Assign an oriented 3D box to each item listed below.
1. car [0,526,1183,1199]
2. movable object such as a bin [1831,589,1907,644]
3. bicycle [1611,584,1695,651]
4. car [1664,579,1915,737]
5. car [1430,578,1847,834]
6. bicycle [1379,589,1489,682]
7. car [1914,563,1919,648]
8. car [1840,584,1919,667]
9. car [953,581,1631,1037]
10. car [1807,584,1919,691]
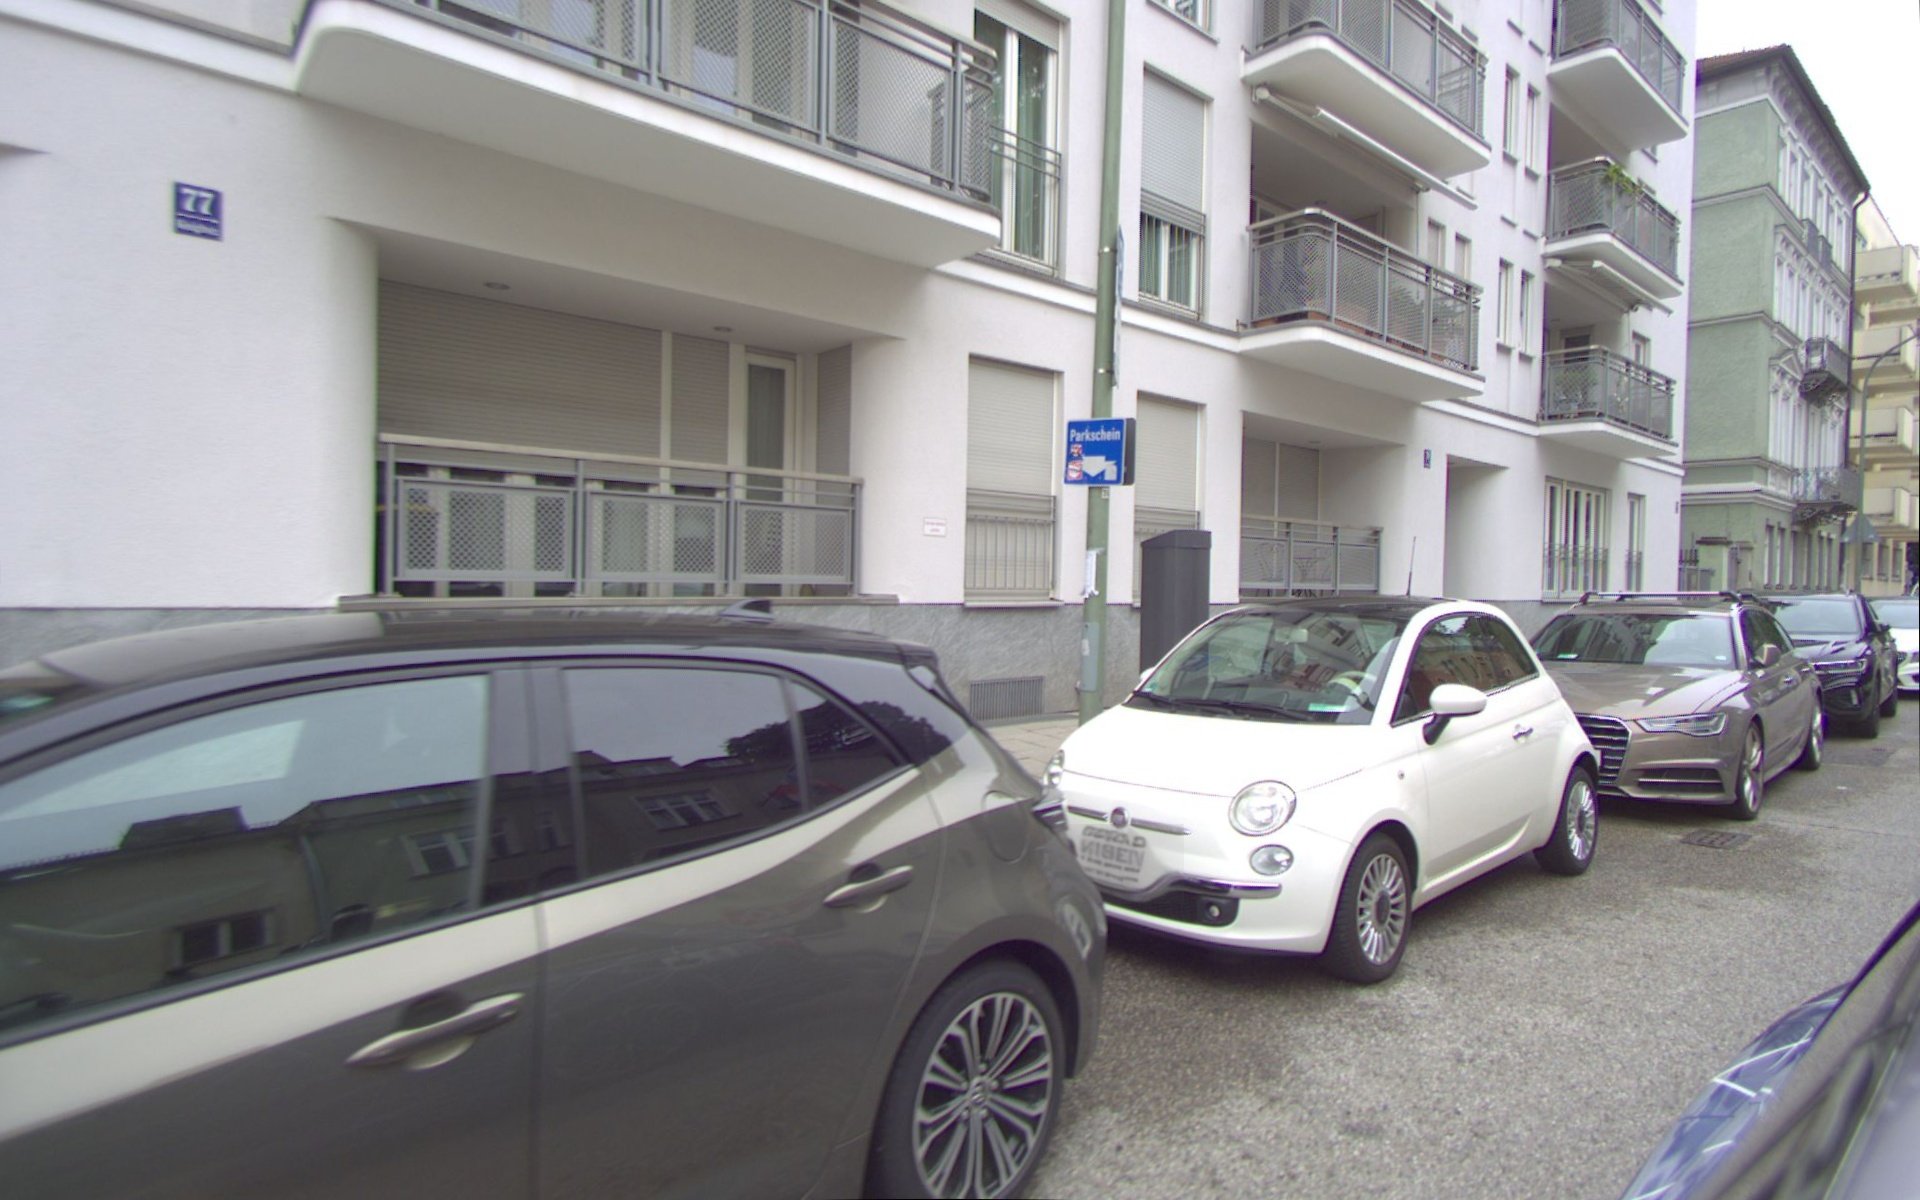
[{"bbox_3d":[-1.506,0.641,1.969,4.147,1.494,1.773,0,1,-44],"label":"car"},{"bbox_3d":[22.071,0.383,24.554,2.125,1.207,1.023,0,4,-40],"label":"movable object such as a bin"},{"bbox_3d":[12.889,0.299,18.795,1.939,1.186,0.803,0,1,-41],"label":"bicycle"},{"bbox_3d":[9.889,0.552,11.961,3.954,1.552,1.839,0,0,-44],"label":"car"},{"bbox_3d":[5.632,0.599,8.137,4.525,1.501,1.793,0,1,-43],"label":"car"},{"bbox_3d":[6.315,0.441,13.449,1.778,1.111,0.570,0,5,-41],"label":"bicycle"},{"bbox_3d":[25.599,0.152,25.453,4.699,2.056,1.857,0,1,-41],"label":"car"},{"bbox_3d":[17.916,0.449,19.021,3.656,1.441,1.717,0,0,-43],"label":"car"},{"bbox_3d":[1.881,0.661,5.128,3.681,1.485,1.620,0,1,-41],"label":"car"},{"bbox_3d":[14.578,0.502,15.697,4.302,1.485,1.666,0,0,-43],"label":"car"}]
